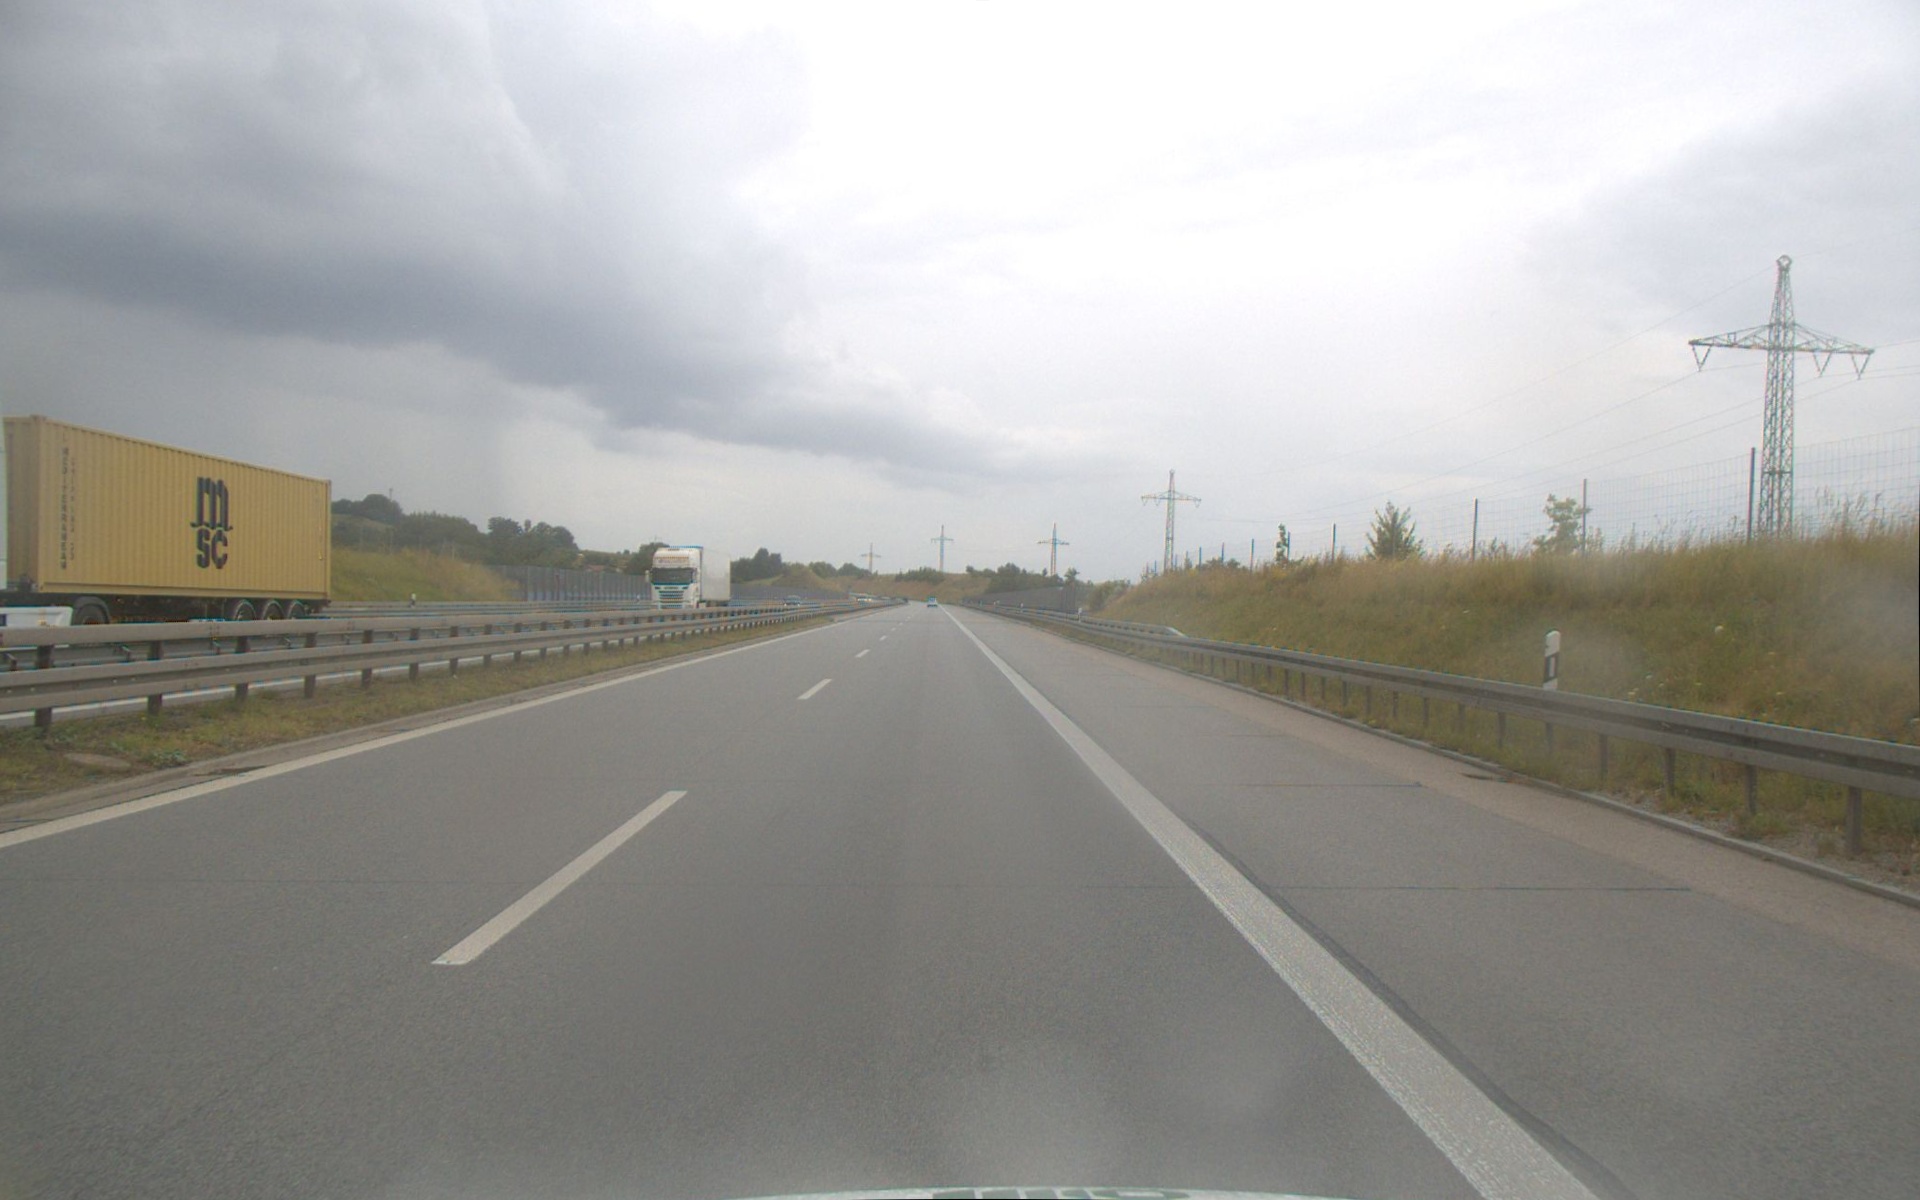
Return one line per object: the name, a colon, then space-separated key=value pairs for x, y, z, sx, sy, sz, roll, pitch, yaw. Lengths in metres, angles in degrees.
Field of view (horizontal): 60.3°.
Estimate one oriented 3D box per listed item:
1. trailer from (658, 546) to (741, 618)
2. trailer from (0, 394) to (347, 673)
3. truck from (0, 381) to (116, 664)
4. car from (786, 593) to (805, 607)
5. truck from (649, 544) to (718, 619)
trailer: x=-15.461 y=-1.017 z=99.307 sx=2.858 sy=3.994 sz=14.271 roll=1 pitch=0 yaw=-1
trailer: x=-15.002 y=-0.993 z=30.509 sx=2.537 sy=3.994 sz=13.697 roll=1 pitch=0 yaw=-2
truck: x=-14.822 y=-1.115 z=23.788 sx=2.540 sy=3.994 sz=5.586 roll=1 pitch=0 yaw=-2
car: x=-17.192 y=-0.009 z=172.954 sx=1.598 sy=1.434 sz=3.999 roll=1 pitch=0 yaw=-1
truck: x=-15.342 y=-1.007 z=92.043 sx=2.892 sy=3.994 sz=5.517 roll=1 pitch=0 yaw=-1
